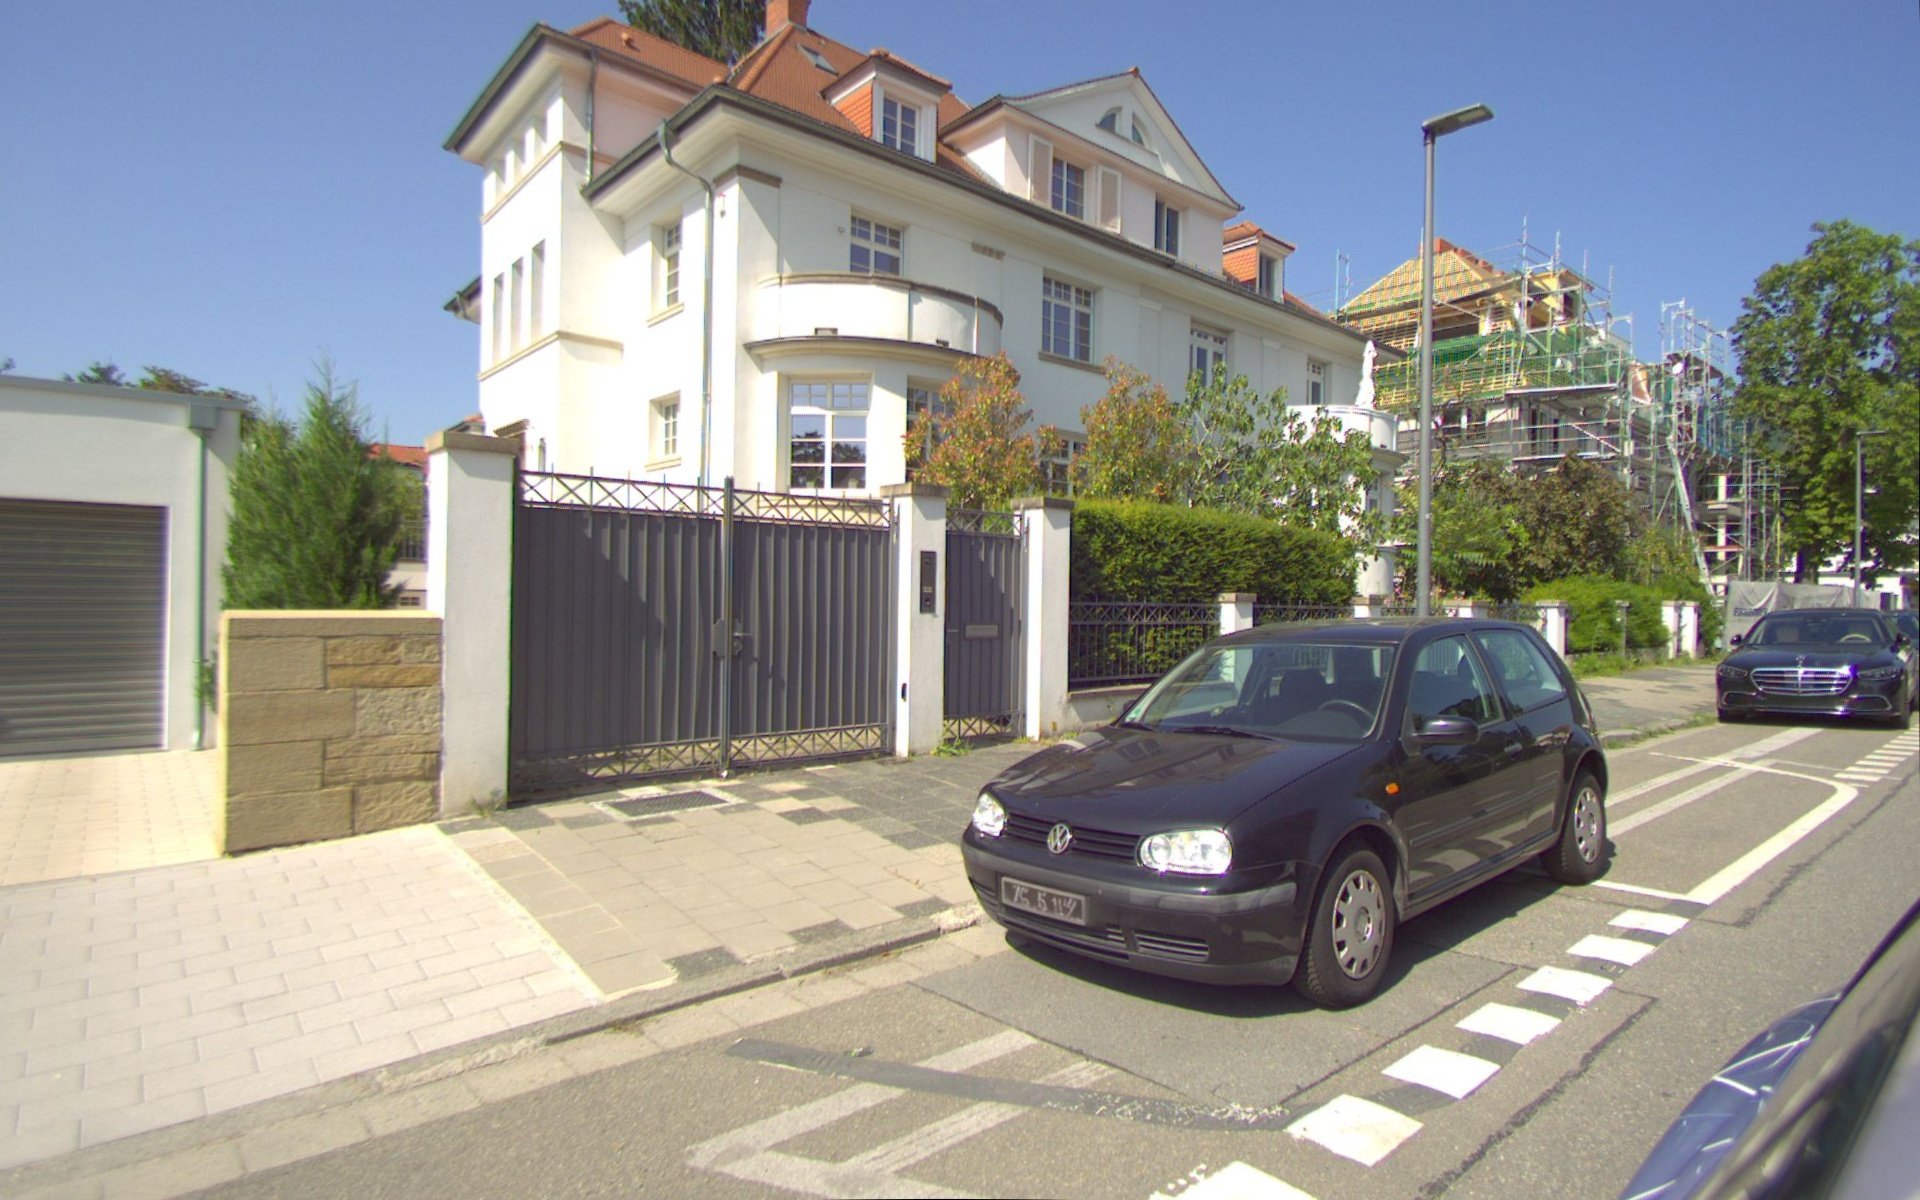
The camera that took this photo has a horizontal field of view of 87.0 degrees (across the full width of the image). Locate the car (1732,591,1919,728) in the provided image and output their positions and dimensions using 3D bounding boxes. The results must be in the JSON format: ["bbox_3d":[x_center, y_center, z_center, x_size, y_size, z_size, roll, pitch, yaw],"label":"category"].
[{"bbox_3d":[12.309,0.728,14.115,4.819,1.603,1.697,0,-2,-44],"label":"car"}]

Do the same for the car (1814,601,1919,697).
[{"bbox_3d":[16.138,0.788,17.411,3.721,1.495,1.659,0,-2,-42],"label":"car"}]

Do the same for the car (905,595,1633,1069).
[{"bbox_3d":[1.783,0.743,5.073,3.930,1.468,1.621,0,-2,-41],"label":"car"}]
